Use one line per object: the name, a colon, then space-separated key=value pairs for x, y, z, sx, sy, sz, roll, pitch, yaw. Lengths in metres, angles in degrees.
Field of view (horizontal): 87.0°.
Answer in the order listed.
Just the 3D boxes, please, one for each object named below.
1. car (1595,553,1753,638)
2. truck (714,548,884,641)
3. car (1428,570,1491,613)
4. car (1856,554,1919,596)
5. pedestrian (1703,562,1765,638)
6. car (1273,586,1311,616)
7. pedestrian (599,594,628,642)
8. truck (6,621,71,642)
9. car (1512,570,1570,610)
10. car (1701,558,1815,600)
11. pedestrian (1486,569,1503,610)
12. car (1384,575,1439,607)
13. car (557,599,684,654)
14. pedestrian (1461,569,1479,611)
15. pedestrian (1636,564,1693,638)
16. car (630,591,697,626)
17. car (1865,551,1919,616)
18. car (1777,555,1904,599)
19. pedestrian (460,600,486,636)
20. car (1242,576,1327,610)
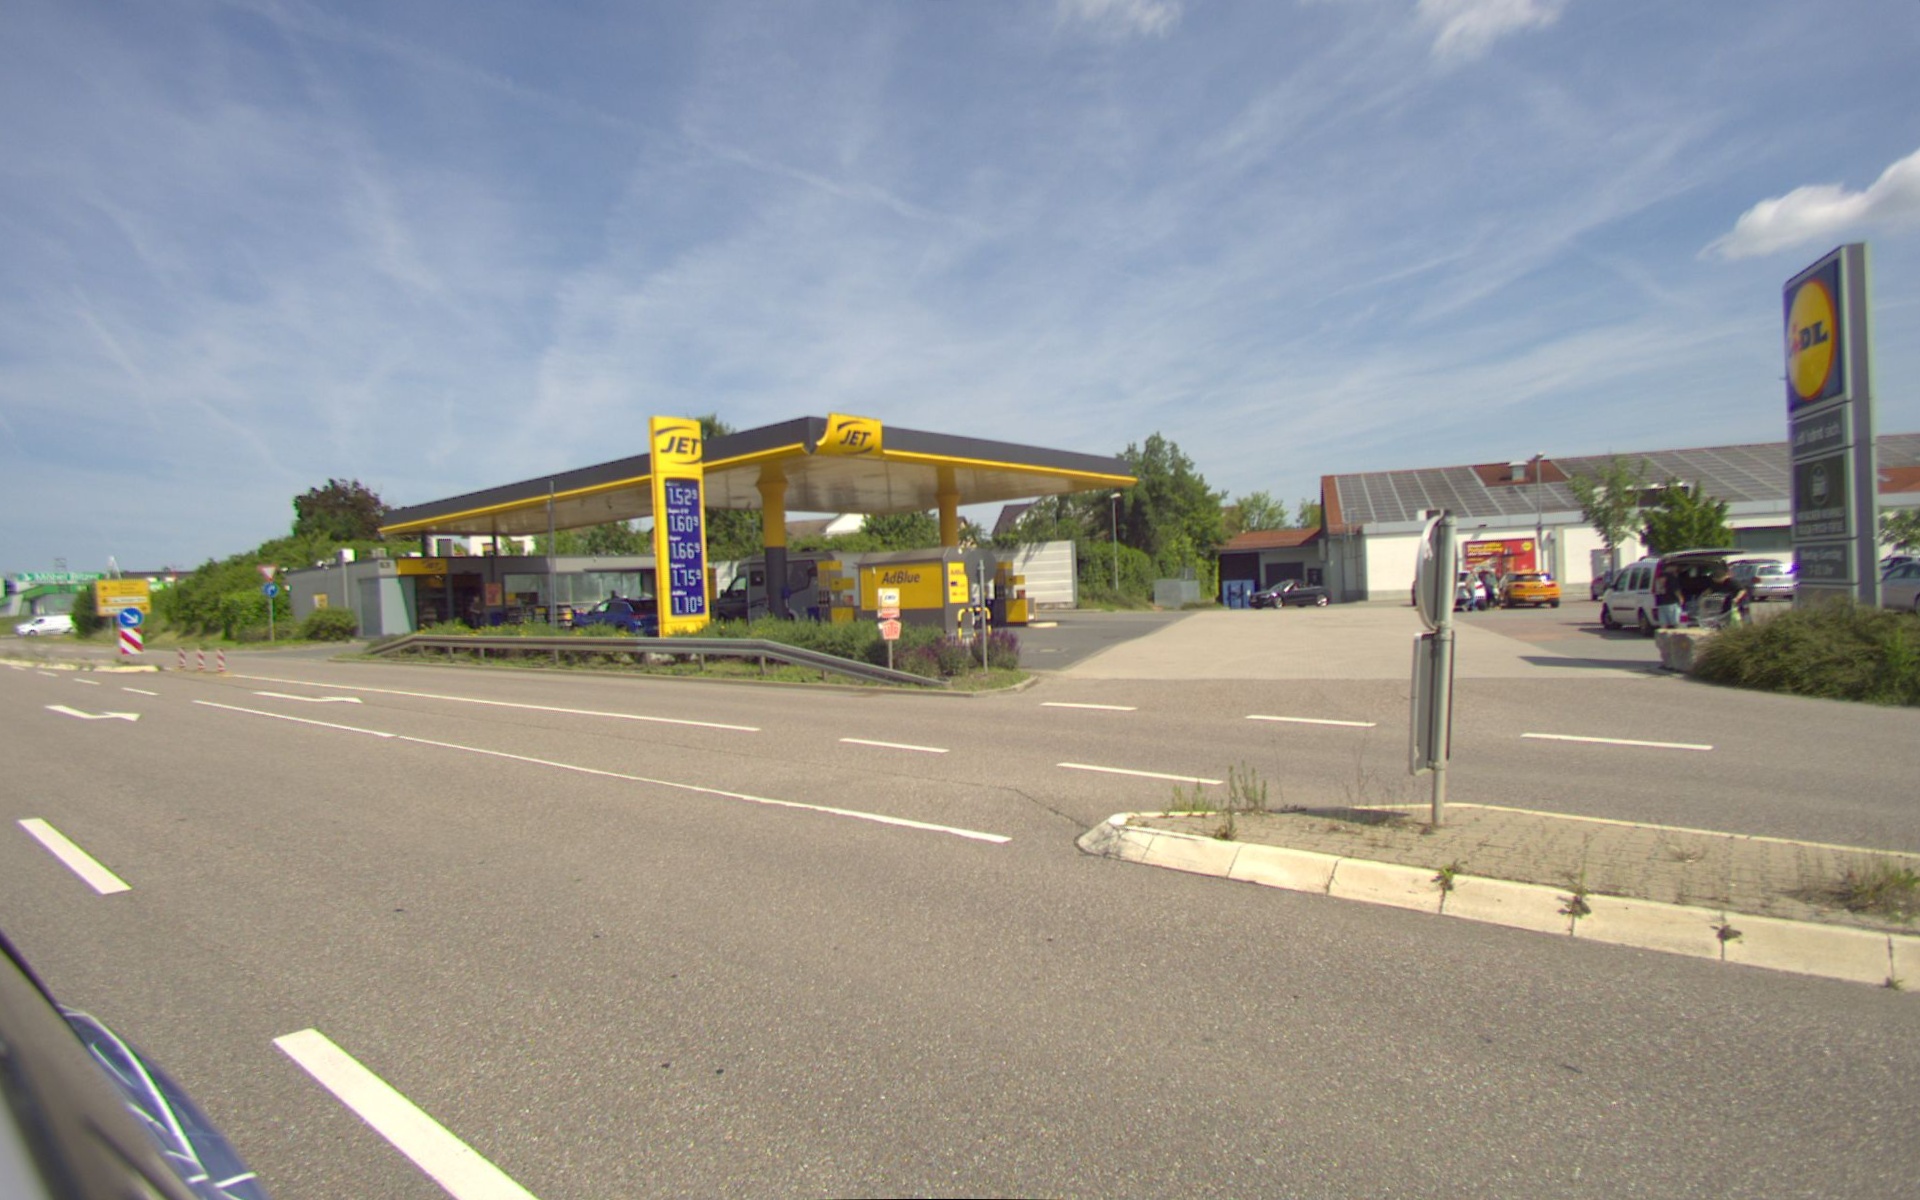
car: x=17.018 y=-0.123 z=24.384 sx=1.865 sy=1.825 sz=4.145 roll=-2 pitch=0 yaw=17
truck: x=-5.670 y=-0.166 z=35.006 sx=6.278 sy=2.944 sz=2.222 roll=-1 pitch=0 yaw=40
car: x=19.866 y=-0.360 z=40.162 sx=1.765 sy=1.551 sz=3.956 roll=-3 pitch=0 yaw=33
car: x=34.392 y=-0.912 z=36.206 sx=1.868 sy=1.453 sz=3.981 roll=-2 pitch=1 yaw=15
pedestrian: x=16.688 y=0.001 z=21.838 sx=0.801 sy=1.587 sz=0.701 roll=-1 pitch=0 yaw=13
car: x=21.360 y=0.036 z=64.962 sx=1.986 sy=1.823 sz=4.356 roll=-2 pitch=0 yaw=22
pedestrian: x=-13.432 y=0.691 z=39.259 sx=0.639 sy=1.851 sz=0.788 roll=-2 pitch=0 yaw=41
truck: x=-96.493 y=3.289 z=106.062 sx=1.996 sy=2.024 sz=4.716 roll=-2 pitch=1 yaw=36
car: x=22.957 y=-0.411 z=39.967 sx=1.879 sy=1.453 sz=3.958 roll=-1 pitch=1 yaw=31
car: x=29.751 y=-0.774 z=37.876 sx=1.868 sy=1.453 sz=3.981 roll=-2 pitch=1 yaw=15
pedestrian: x=20.652 y=-0.403 z=39.111 sx=0.516 sy=1.564 sz=0.500 roll=-1 pitch=0 yaw=33
car: x=20.800 y=-0.425 z=46.579 sx=1.713 sy=1.320 sz=3.956 roll=-2 pitch=1 yaw=33
car: x=-11.280 y=0.876 z=33.529 sx=4.258 sy=1.719 sz=1.975 roll=-2 pitch=-1 yaw=38
pedestrian: x=19.105 y=-0.363 z=37.927 sx=0.505 sy=1.564 sz=0.511 roll=-1 pitch=0 yaw=35
pedestrian: x=15.509 y=0.020 z=22.306 sx=0.801 sy=1.587 sz=0.701 roll=-1 pitch=0 yaw=13
car: x=-16.056 y=0.451 z=54.777 sx=3.986 sy=1.747 sz=1.598 roll=0 pitch=1 yaw=42
car: x=25.763 y=-0.452 z=26.132 sx=1.850 sy=1.688 sz=4.399 roll=-2 pitch=1 yaw=18
car: x=31.987 y=-0.818 z=36.905 sx=1.868 sy=1.453 sz=3.981 roll=-2 pitch=1 yaw=15
pedestrian: x=-20.251 y=0.729 z=42.071 sx=0.900 sy=1.438 sz=0.496 roll=-2 pitch=1 yaw=-31
car: x=16.778 y=-0.369 z=52.369 sx=3.810 sy=1.625 sz=1.758 roll=-2 pitch=0 yaw=-18
